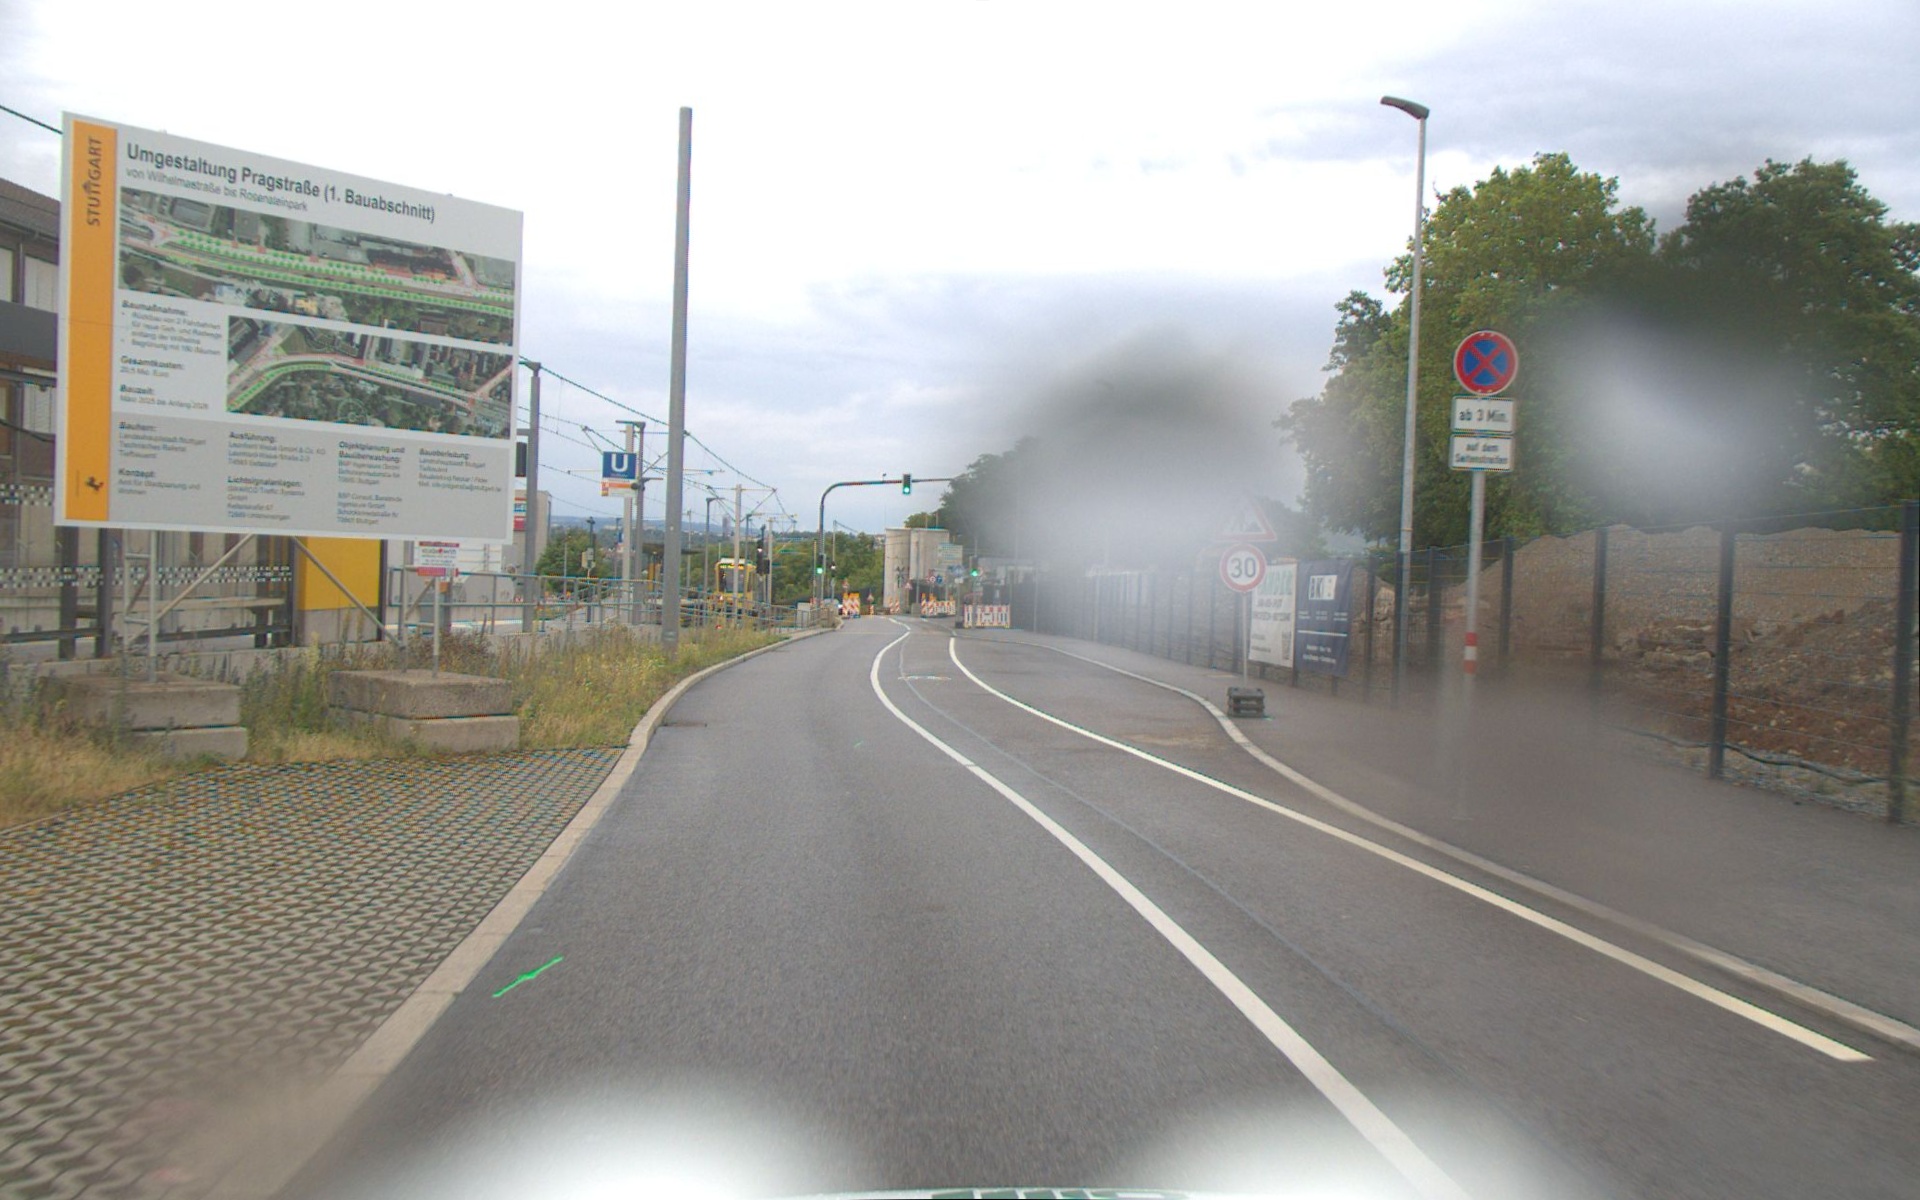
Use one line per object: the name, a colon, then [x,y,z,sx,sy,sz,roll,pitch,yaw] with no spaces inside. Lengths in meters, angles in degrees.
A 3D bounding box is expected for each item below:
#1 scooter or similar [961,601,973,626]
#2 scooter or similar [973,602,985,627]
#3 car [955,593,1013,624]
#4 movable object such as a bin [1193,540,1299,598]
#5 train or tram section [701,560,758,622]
scooter or similar: [0.382,0.774,94.025,0.602,1.375,1.912,1,0,2]
scooter or similar: [1.055,0.822,93.988,0.602,1.375,1.912,1,0,2]
car: [1.502,0.529,100.312,1.784,1.825,4.404,1,0,27]
movable object such as a bin: [30.862,-3.301,179.048,10.995,6.100,3.492,0,-1,4]
train or tram section: [-16.174,-0.580,117.206,2.898,3.954,19.551,2,0,-5]
